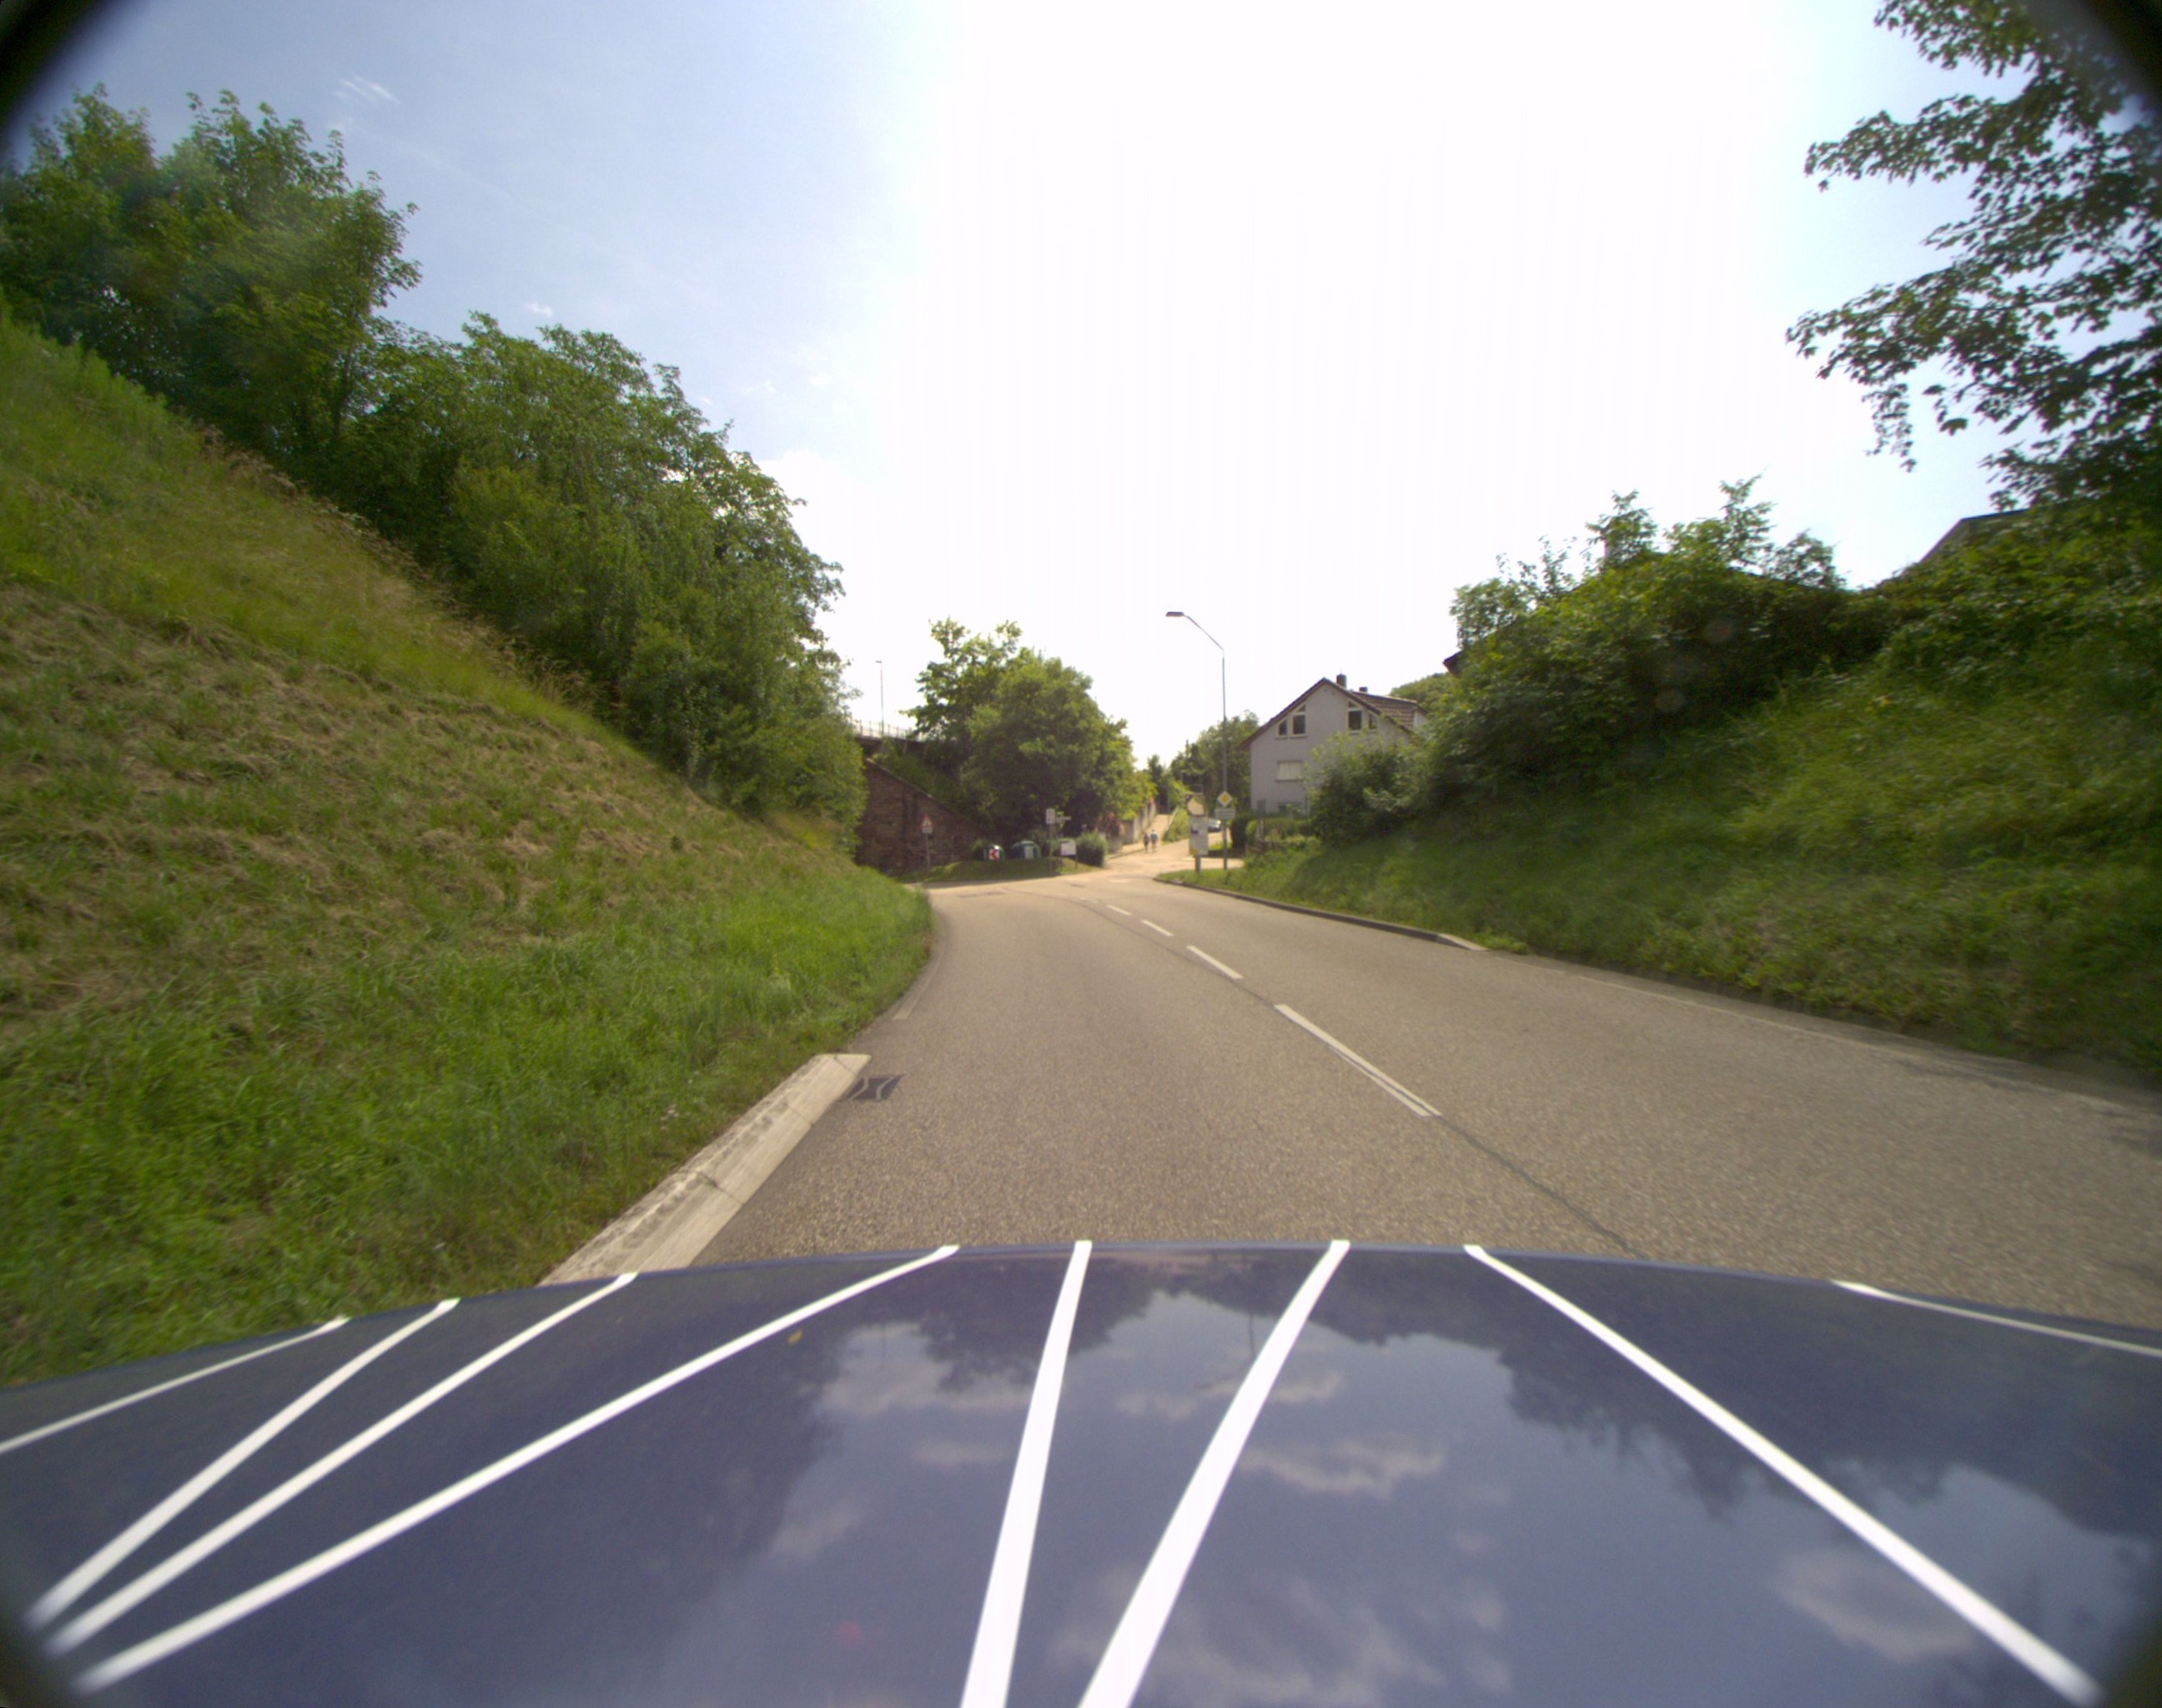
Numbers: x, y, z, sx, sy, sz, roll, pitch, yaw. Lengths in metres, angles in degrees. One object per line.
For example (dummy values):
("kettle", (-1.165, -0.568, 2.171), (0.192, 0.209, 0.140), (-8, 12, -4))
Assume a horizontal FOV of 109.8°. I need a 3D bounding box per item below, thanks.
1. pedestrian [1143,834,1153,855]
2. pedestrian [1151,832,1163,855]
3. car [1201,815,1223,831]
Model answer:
("pedestrian", (5.126, -0.756, 58.212), (0.573, 1.546, 0.599), (-4, 3, 12))
("pedestrian", (5.829, -0.834, 58.358), (0.686, 1.703, 0.790), (-4, 3, 12))
("car", (15.021, -3.511, 87.180), (1.854, 1.634, 4.392), (-4, 1, 4))
